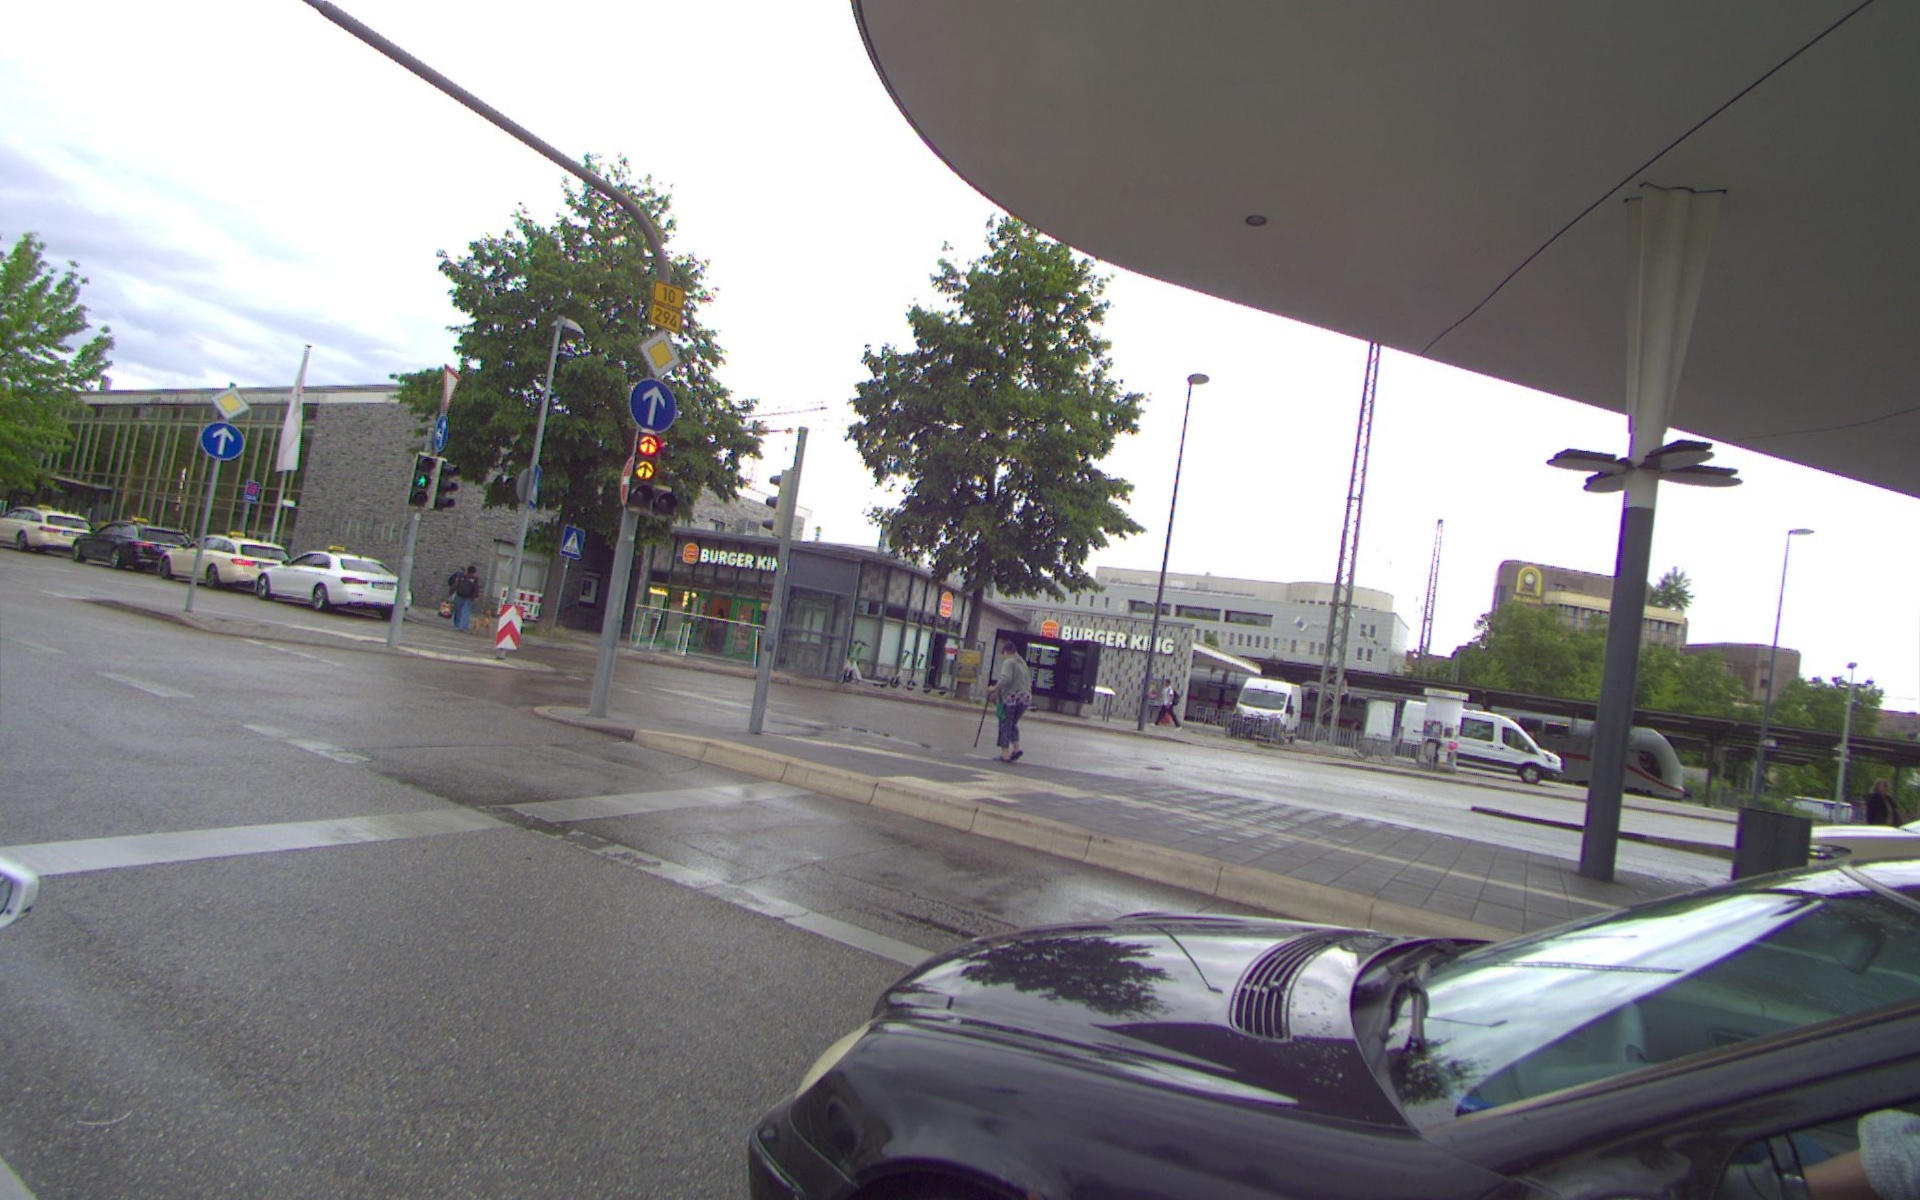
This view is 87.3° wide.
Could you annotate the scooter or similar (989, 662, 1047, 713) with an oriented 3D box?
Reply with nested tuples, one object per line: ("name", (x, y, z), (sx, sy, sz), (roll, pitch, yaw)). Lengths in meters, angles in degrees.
("scooter or similar", (1.718, 2.593, 29.770), (1.503, 1.284, 0.467), (8, -1, -4))

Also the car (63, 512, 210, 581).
("car", (-25.832, -1.697, 31.521), (4.662, 1.542, 1.918), (7, -2, 30))

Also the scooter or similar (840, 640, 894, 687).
("scooter or similar", (-2.623, 1.805, 28.414), (1.313, 1.157, 0.464), (9, -2, -31))

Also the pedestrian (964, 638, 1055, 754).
("pedestrian", (0.644, 1.251, 13.090), (0.753, 1.374, 0.738), (7, -3, 31))

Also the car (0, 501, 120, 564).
("car", (-31.427, -2.372, 34.532), (4.736, 1.618, 2.000), (7, -2, 25))

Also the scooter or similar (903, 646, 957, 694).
("scooter or similar", (-0.943, 2.160, 31.168), (1.503, 1.284, 0.467), (8, -1, -4))

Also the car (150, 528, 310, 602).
("car", (-20.624, -1.002, 28.379), (4.588, 1.468, 1.851), (7, -2, 30))

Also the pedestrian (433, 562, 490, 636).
("pedestrian", (-12.378, -0.023, 24.988), (0.700, 1.693, 0.809), (7, -2, 31))

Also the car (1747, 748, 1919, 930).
("car", (11.239, 2.790, 10.559), (4.360, 1.665, 1.807), (7, -5, 32))

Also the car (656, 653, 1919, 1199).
("car", (1.772, 1.160, 1.468), (4.362, 1.493, 1.754), (5, -8, 31))

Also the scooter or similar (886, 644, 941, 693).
("scooter or similar", (-1.405, 2.061, 30.343), (1.503, 1.284, 0.467), (8, -1, -4))

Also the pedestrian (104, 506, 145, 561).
("pedestrian", (-33.741, -2.685, 40.636), (0.906, 2.036, 0.813), (7, -2, 32))

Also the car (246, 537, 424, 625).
("car", (-15.847, -0.506, 25.452), (4.538, 1.608, 1.779), (7, -2, 30))

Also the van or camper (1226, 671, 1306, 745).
("van or camper", (12.546, 4.409, 41.007), (2.072, 2.491, 5.975), (7, -3, 25))

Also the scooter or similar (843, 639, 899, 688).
("scooter or similar", (-2.454, 1.755, 27.756), (1.309, 1.167, 0.465), (9, -2, -21))

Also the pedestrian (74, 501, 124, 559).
("pedestrian", (-32.860, -2.659, 38.397), (0.904, 2.036, 0.815), (8, -1, 8))

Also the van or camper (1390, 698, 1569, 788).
("van or camper", (20.345, 5.545, 39.538), (5.873, 2.491, 2.108), (7, -2, 32))

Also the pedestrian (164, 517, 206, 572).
("pedestrian", (-30.984, -2.228, 40.227), (0.906, 2.036, 0.813), (7, -2, 31))

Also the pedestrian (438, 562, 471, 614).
("pedestrian", (-17.029, -0.393, 33.879), (0.556, 1.652, 0.562), (7, -2, 30))

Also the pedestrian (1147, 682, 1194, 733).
("pedestrian", (7.330, 3.746, 35.027), (0.910, 1.552, 1.096), (9, -2, -36))
